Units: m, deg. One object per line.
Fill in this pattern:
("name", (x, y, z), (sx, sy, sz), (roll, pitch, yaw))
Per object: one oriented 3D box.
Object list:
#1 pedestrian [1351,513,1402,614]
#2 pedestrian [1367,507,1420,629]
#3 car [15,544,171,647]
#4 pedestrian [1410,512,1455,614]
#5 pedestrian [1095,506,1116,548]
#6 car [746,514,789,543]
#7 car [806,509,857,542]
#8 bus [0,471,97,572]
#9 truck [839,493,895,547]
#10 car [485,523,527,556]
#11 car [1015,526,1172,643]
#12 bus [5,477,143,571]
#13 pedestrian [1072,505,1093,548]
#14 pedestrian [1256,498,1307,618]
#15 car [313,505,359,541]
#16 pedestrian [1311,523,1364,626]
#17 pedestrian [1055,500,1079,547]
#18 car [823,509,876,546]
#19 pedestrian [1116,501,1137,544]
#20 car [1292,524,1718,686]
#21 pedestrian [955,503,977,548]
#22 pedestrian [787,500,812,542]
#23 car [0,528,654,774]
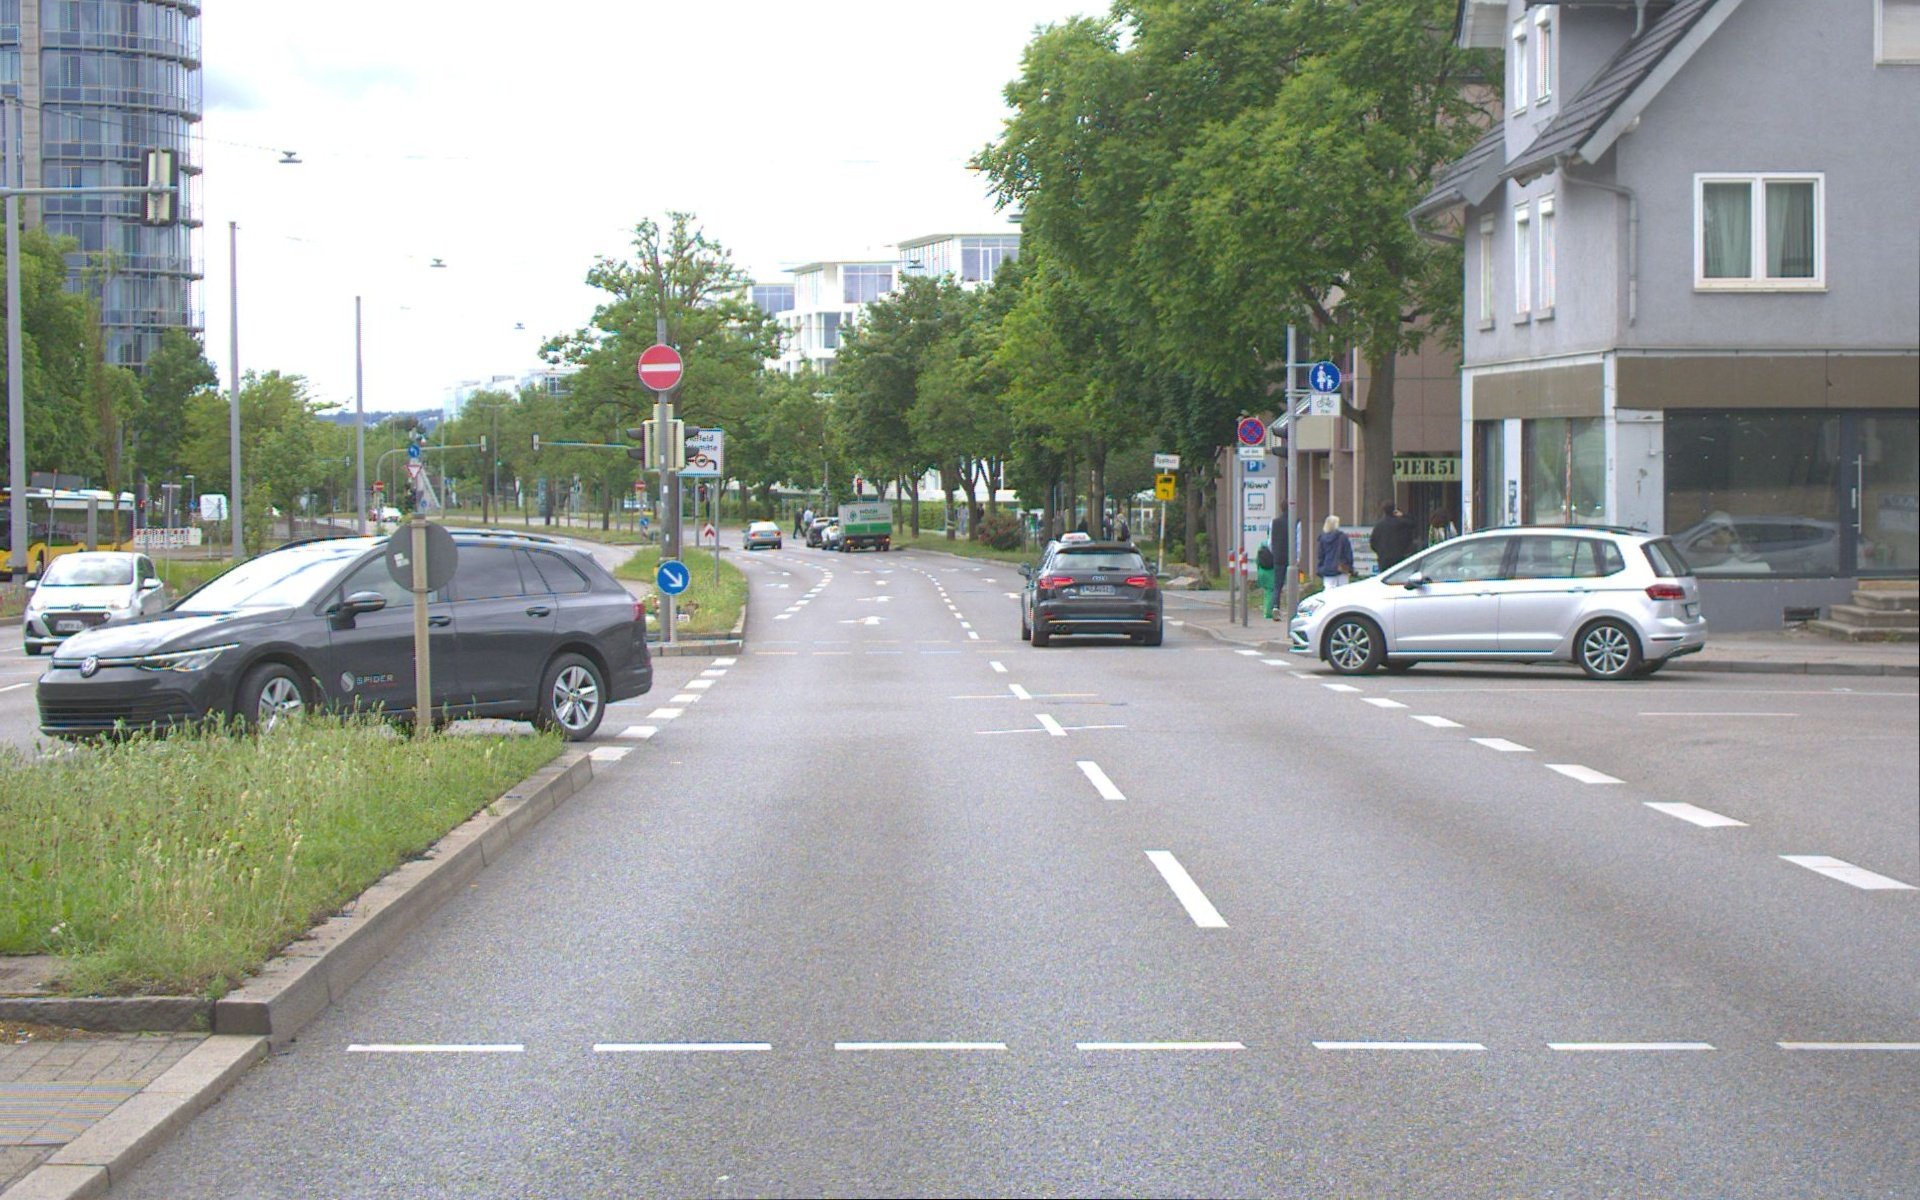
("pedestrian", (6.919, -0.604, 57.040), (0.706, 1.656, 0.869), (-1, 1, 15))
("pedestrian", (6.324, -0.467, 50.169), (0.705, 1.754, 1.052), (-1, 1, 5))
("car", (-12.803, -0.091, 50.934), (1.684, 1.457, 3.556), (-1, 1, -5))
("pedestrian", (7.781, -0.615, 56.646), (0.705, 1.656, 0.870), (0, 1, 7))
("pedestrian", (5.355, -2.681, 126.420), (0.650, 1.564, 0.671), (-1, 1, -8))
("car", (-9.693, -3.597, 173.161), (1.967, 1.415, 4.023), (-1, 1, -5))
("car", (-6.508, -3.742, 173.869), (2.250, 1.641, 4.934), (-1, 1, -5))
("bus", (-31.396, -2.569, 114.474), (3.144, 3.214, 10.286), (-1, 1, -3))
("truck", (-4.266, -3.646, 156.478), (2.251, 2.408, 4.934), (0, 1, -5))
("car", (-20.831, -2.782, 157.719), (1.702, 1.487, 3.563), (-1, 1, -11))
("car", (1.775, -0.225, 46.770), (1.889, 1.489, 4.099), (-1, 1, -1))
("bus", (-31.735, -2.710, 123.477), (3.144, 3.214, 7.766), (-1, 1, -2))
("pedestrian", (4.508, -2.708, 126.633), (0.650, 1.564, 0.671), (-1, 1, -8))
("pedestrian", (4.807, -0.629, 51.404), (0.705, 1.773, 0.870), (-1, 1, 2))
("car", (-36.336, -4.463, 200.270), (1.965, 2.007, 4.000), (1, 1, -1))
("pedestrian", (5.565, -0.376, 50.741), (0.705, 1.502, 0.870), (-1, 1, 2))
("pedestrian", (4.641, -3.320, 149.522), (0.971, 2.007, 0.981), (1, 0, -1))
("car", (-5.312, -3.478, 165.075), (2.251, 1.751, 4.934), (-1, 1, -5))
("pedestrian", (6.128, -2.858, 126.680), (0.650, 1.564, 0.671), (-1, 1, -8))
("car", (5.757, 0.024, 36.256), (4.105, 1.535, 1.826), (2, 1, 21))
("pedestrian", (0.295, -3.855, 177.988), (0.930, 2.300, 1.011), (1, 0, -10))
("pedestrian", (-9.288, -4.553, 199.122), (1.232, 2.393, 1.310), (-1, 1, -10))
("car", (-4.195, 0.267, 23.351), (1.713, 1.476, 4.278), (2, 2, 39))
